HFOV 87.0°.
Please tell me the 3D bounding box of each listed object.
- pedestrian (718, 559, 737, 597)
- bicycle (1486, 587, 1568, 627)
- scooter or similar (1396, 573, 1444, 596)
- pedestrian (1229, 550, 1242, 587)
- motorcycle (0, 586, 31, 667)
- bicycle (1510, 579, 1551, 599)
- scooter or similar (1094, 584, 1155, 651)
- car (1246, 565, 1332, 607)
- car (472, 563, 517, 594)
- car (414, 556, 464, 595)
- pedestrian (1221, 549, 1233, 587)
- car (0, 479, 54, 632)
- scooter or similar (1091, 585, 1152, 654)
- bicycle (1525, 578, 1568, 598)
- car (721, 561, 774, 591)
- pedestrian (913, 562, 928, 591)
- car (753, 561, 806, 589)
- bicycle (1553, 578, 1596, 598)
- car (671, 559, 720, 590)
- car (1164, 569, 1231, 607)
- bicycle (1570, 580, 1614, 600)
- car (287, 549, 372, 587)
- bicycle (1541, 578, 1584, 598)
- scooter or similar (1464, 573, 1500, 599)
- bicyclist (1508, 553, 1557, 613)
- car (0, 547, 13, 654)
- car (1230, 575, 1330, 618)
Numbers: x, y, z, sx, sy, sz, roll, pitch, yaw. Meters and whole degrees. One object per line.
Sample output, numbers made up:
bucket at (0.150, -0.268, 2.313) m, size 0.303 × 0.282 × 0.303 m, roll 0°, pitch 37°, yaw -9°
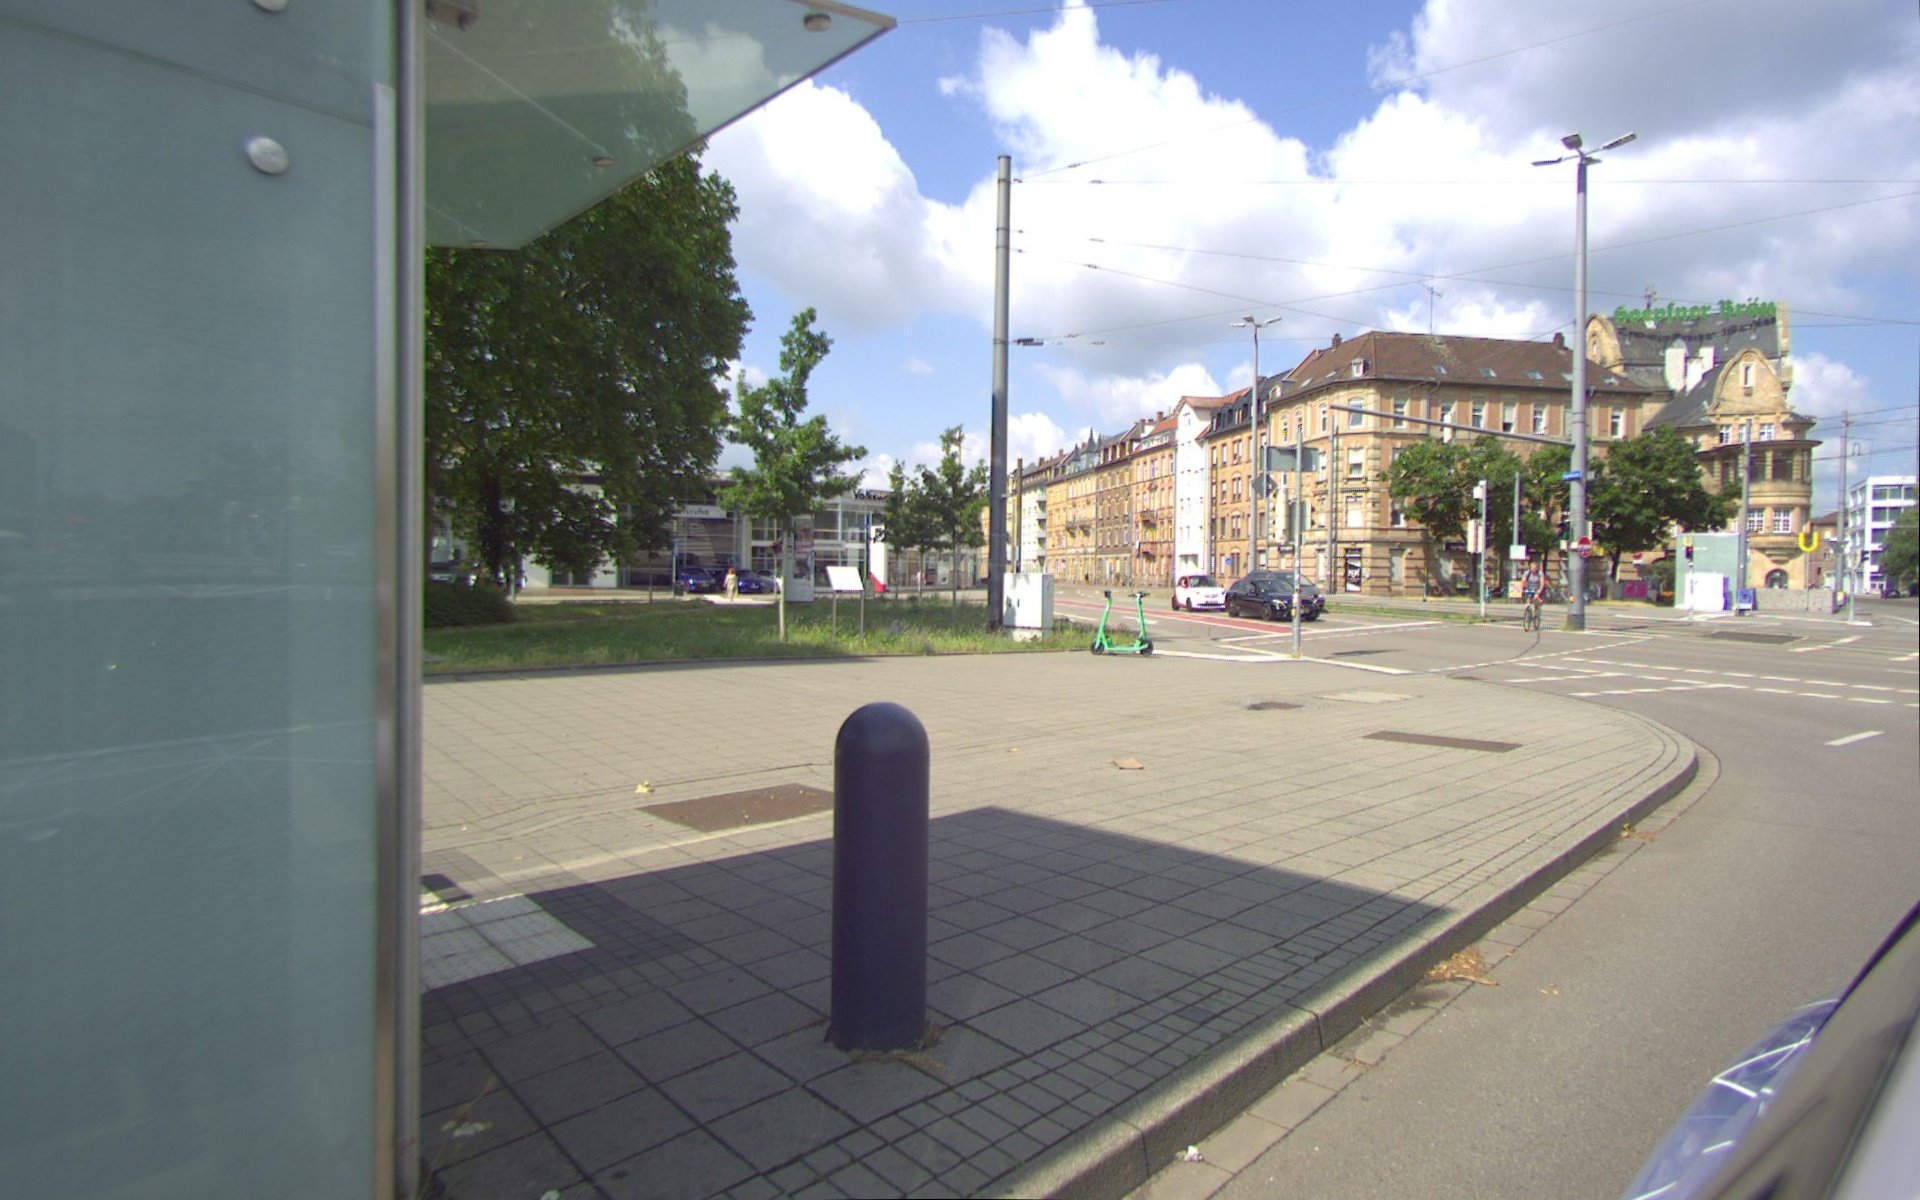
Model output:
pedestrian at (-12.555, -1.199, 54.574) m, size 0.793 × 2.038 × 0.809 m, roll 0°, pitch 1°, yaw -28°
bicycle at (16.309, 0.177, 29.108) m, size 2.152 × 1.083 × 0.879 m, roll -1°, pitch 1°, yaw -20°
scooter or similar at (28.815, -0.959, 63.506) m, size 1.155 × 1.403 × 2.810 m, roll 2°, pitch 0°, yaw -16°
pedestrian at (23.418, -2.655, 85.953) m, size 0.713 × 3.115 × 0.888 m, roll 2°, pitch 0°, yaw -1°
motorcycle at (-12.968, 0.370, 12.378) m, size 0.958 × 1.043 × 2.290 m, roll -1°, pitch 1°, yaw 7°
bicycle at (35.426, -0.695, 62.882) m, size 0.745 × 1.180 × 2.690 m, roll 0°, pitch 2°, yaw -9°
scooter or similar at (3.081, 0.331, 18.999) m, size 1.045 × 1.212 × 0.381 m, roll 2°, pitch 0°, yaw 1°
car at (13.154, -0.605, 40.697) m, size 1.960 × 1.593 × 3.741 m, roll 1°, pitch 2°, yaw -5°
car at (-26.976, -1.268, 58.535) m, size 1.757 × 1.703 × 4.002 m, roll 0°, pitch 2°, yaw -34°
car at (-29.245, -1.356, 56.739) m, size 1.961 × 2.039 × 4.002 m, roll 3°, pitch 0°, yaw -34°
pedestrian at (22.667, -2.694, 85.949) m, size 0.655 × 3.160 × 0.888 m, roll 2°, pitch 0°, yaw -1°
car at (-21.951, -0.997, 22.922) m, size 1.965 × 3.080 × 7.238 m, roll 0°, pitch 2°, yaw -41°
scooter or similar at (2.954, 0.342, 18.524) m, size 1.048 × 1.212 × 0.380 m, roll 2°, pitch 0°, yaw 12°
bicycle at (36.510, -0.736, 63.040) m, size 0.745 × 1.180 × 2.690 m, roll 1°, pitch 2°, yaw -9°
car at (-13.300, -1.487, 63.195) m, size 1.960 × 1.747 × 4.004 m, roll 2°, pitch 0°, yaw -31°
pedestrian at (-2.792, -1.637, 71.267) m, size 0.696 × 2.038 × 0.864 m, roll 1°, pitch 1°, yaw 25°
car at (-11.769, -1.629, 65.892) m, size 1.897 × 1.705 × 4.001 m, roll 2°, pitch 0°, yaw -34°
bicycle at (38.524, -0.770, 63.461) m, size 0.745 × 1.180 × 2.690 m, roll 0°, pitch 2°, yaw -9°
car at (-16.298, -1.558, 62.268) m, size 1.960 × 1.860 × 4.005 m, roll -1°, pitch 2°, yaw -30°
car at (10.011, -0.511, 42.879) m, size 1.657 × 1.488 × 3.660 m, roll 2°, pitch 0°, yaw -5°
bicycle at (39.689, -0.662, 63.595) m, size 0.746 × 1.180 × 2.689 m, roll 0°, pitch 2°, yaw -8°
car at (-37.311, -1.852, 59.998) m, size 3.915 × 2.039 × 2.004 m, roll 2°, pitch 0°, yaw -20°
bicycle at (37.564, -0.758, 63.149) m, size 0.746 × 1.180 × 2.689 m, roll 0°, pitch 2°, yaw -8°
scooter or similar at (32.879, -0.895, 63.780) m, size 0.862 × 1.500 × 2.019 m, roll 0°, pitch 3°, yaw -10°
bicyclist at (16.518, -0.486, 29.214) m, size 1.124 × 1.696 × 0.616 m, roll 2°, pitch 0°, yaw -21°
car at (-17.562, -0.038, 17.013) m, size 3.983 × 1.727 × 1.971 m, roll 2°, pitch 2°, yaw 41°
car at (11.124, -0.157, 35.490) m, size 1.833 × 1.393 × 3.946 m, roll 1°, pitch 2°, yaw -7°
